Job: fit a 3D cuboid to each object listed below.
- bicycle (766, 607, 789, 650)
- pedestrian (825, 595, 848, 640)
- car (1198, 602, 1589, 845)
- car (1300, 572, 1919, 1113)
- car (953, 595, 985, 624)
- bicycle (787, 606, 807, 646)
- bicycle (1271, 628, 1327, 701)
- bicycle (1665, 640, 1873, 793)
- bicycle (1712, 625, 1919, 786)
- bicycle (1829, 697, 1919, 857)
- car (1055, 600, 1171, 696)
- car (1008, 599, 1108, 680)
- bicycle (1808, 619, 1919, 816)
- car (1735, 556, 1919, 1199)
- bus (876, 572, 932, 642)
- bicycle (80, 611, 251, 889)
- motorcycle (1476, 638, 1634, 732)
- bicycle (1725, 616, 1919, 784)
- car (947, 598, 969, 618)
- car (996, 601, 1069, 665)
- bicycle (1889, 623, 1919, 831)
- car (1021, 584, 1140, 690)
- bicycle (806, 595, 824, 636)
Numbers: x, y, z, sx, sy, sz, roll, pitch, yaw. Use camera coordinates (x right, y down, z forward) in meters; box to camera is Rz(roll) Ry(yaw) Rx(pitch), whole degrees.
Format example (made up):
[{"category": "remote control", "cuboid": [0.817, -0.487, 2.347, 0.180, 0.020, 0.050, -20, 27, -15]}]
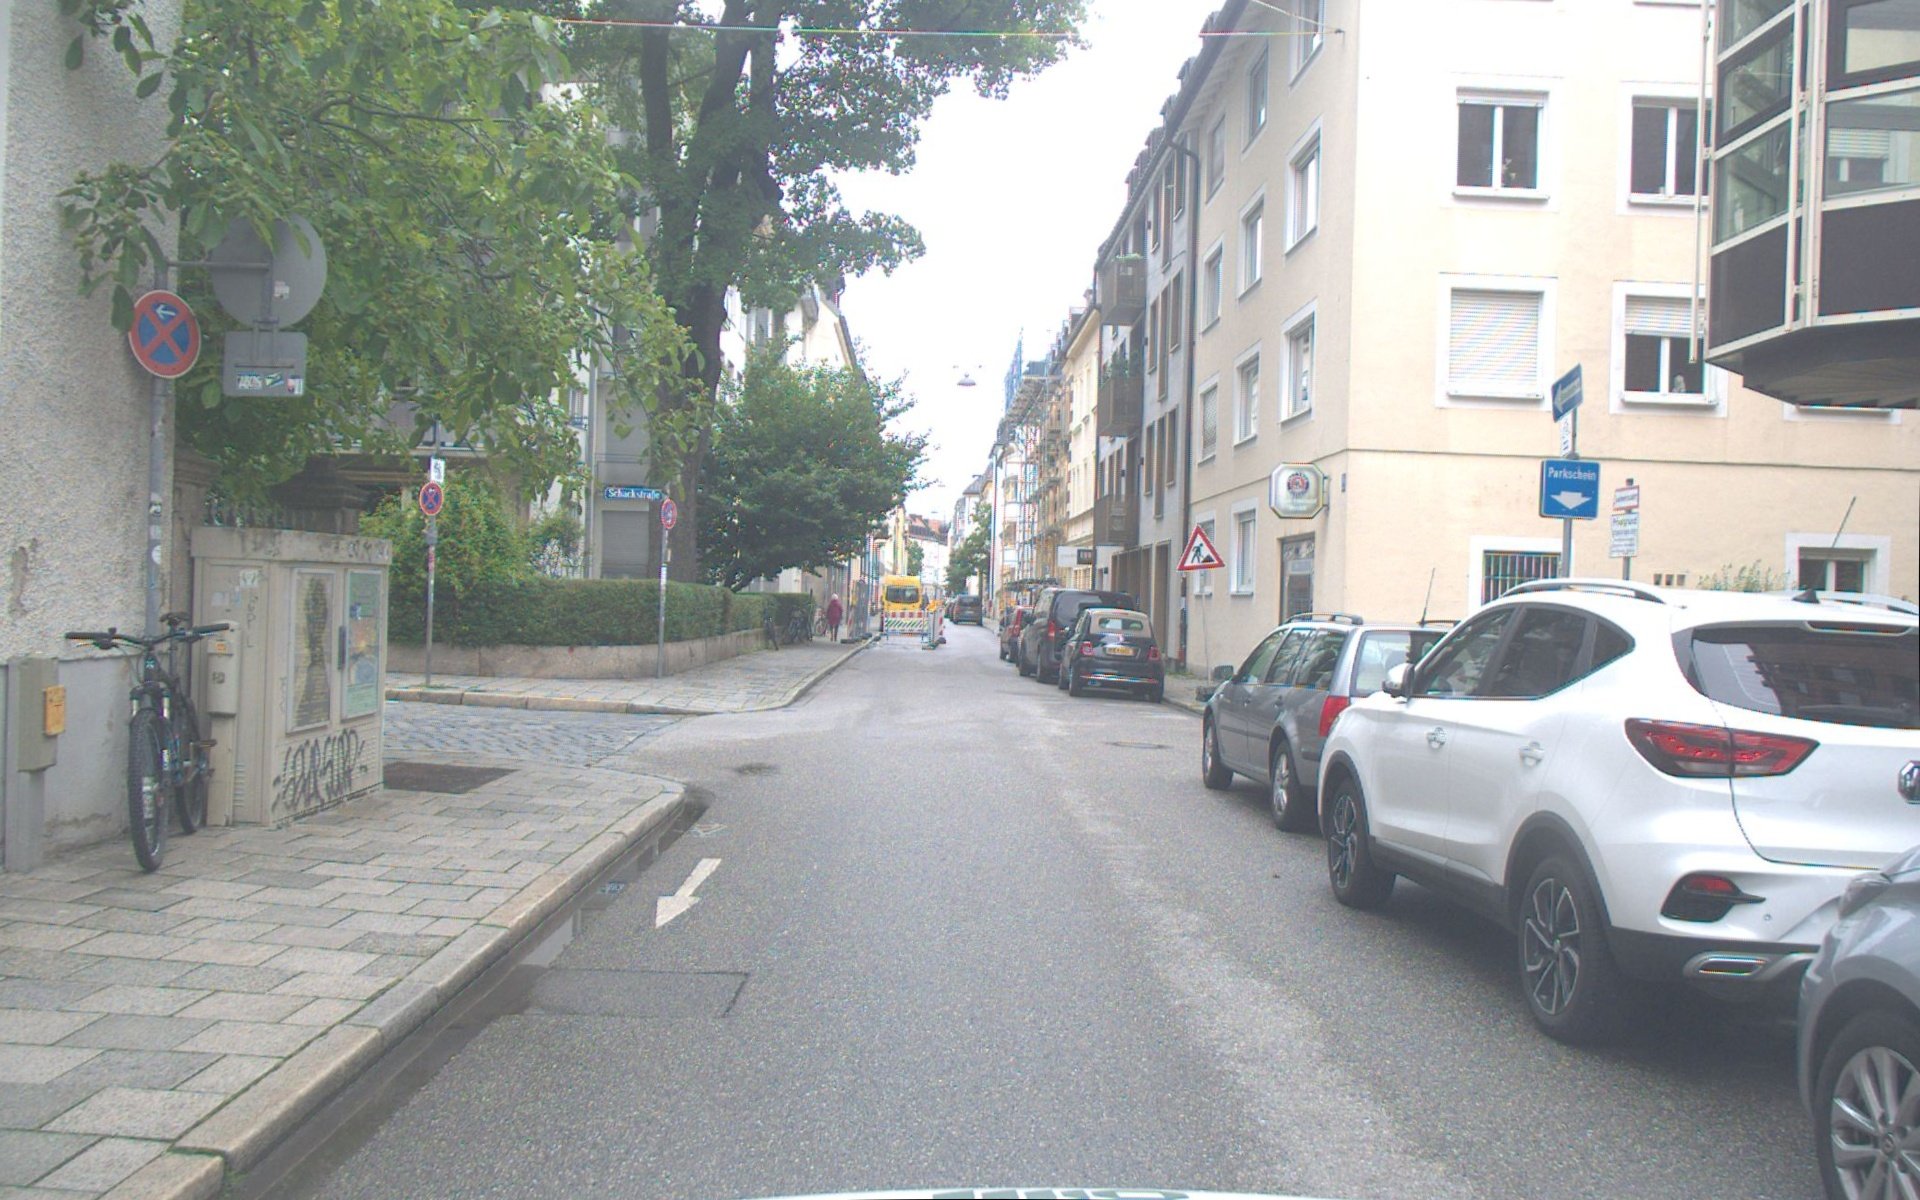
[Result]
[{"category": "bicycle", "cuboid": [-4.594, 0.713, 41.677, 0.406, 1.038, 1.853, 1, -1, -2]}, {"category": "pedestrian", "cuboid": [-4.221, 0.606, 56.587, 0.740, 1.517, 0.831, 1, -1, -1]}, {"category": "car", "cuboid": [3.033, 0.784, 12.444, 1.709, 1.470, 3.998, 2, 0, -2]}, {"category": "car", "cuboid": [2.901, 0.759, 7.230, 1.714, 1.658, 4.194, 1, 0, -4]}, {"category": "car", "cuboid": [0.592, 0.615, 111.151, 1.766, 1.741, 3.824, 5, 0, -3]}, {"category": "bicycle", "cuboid": [-4.639, 0.733, 47.213, 0.437, 1.092, 2.466, 1, -1, -3]}, {"category": "bicycle", "cuboid": [5.127, 0.958, 25.085, 0.465, 1.044, 1.705, 0, -1, -1]}, {"category": "bicycle", "cuboid": [6.494, 0.907, 13.345, 0.374, 1.098, 1.537, 3, 0, -29]}, {"category": "bicycle", "cuboid": [6.924, 0.824, 13.437, 0.374, 1.179, 1.537, 2, 0, -29]}, {"category": "bicycle", "cuboid": [5.808, 1.064, 9.909, 0.377, 0.889, 1.542, 1, -1, -1]}, {"category": "car", "cuboid": [2.642, 0.799, 29.267, 1.592, 1.513, 3.807, 2, 0, -1]}, {"category": "car", "cuboid": [2.172, 0.852, 37.711, 1.765, 1.595, 3.998, 5, 0, -2]}, {"category": "bicycle", "cuboid": [6.600, 0.787, 11.086, 1.607, 1.299, 0.379, 1, -1, 26]}, {"category": "car", "cuboid": [3.077, 0.737, 2.589, 1.687, 1.664, 3.877, 1, -1, -4]}, {"category": "bus", "cuboid": [-2.619, 0.349, 79.382, 2.540, 3.156, 6.304, 1, -1, -1]}, {"category": "bicycle", "cuboid": [-3.708, 0.640, 7.817, 0.465, 1.130, 1.751, 2, 0, -18]}, {"category": "motorcycle", "cuboid": [7.942, 1.120, 22.146, 0.618, 1.127, 1.897, 2, 0, -43]}, {"category": "bicycle", "cuboid": [7.296, 0.814, 13.996, 0.374, 1.298, 1.537, 2, 0, -29]}, {"category": "car", "cuboid": [-0.162, 0.670, 139.650, 1.764, 1.642, 3.999, 2, 0, -1]}, {"category": "car", "cuboid": [1.962, 0.861, 45.494, 1.603, 1.541, 3.828, 5, 0, -2]}, {"category": "bicycle", "cuboid": [6.213, 0.795, 9.933, 0.370, 1.299, 1.552, 1, -1, -1]}, {"category": "car", "cuboid": [2.386, 0.700, 33.622, 1.766, 1.851, 3.997, 5, 0, -3]}, {"category": "bicycle", "cuboid": [-5.267, 0.560, 60.004, 0.504, 1.442, 1.933, 1, -1, -2]}]
